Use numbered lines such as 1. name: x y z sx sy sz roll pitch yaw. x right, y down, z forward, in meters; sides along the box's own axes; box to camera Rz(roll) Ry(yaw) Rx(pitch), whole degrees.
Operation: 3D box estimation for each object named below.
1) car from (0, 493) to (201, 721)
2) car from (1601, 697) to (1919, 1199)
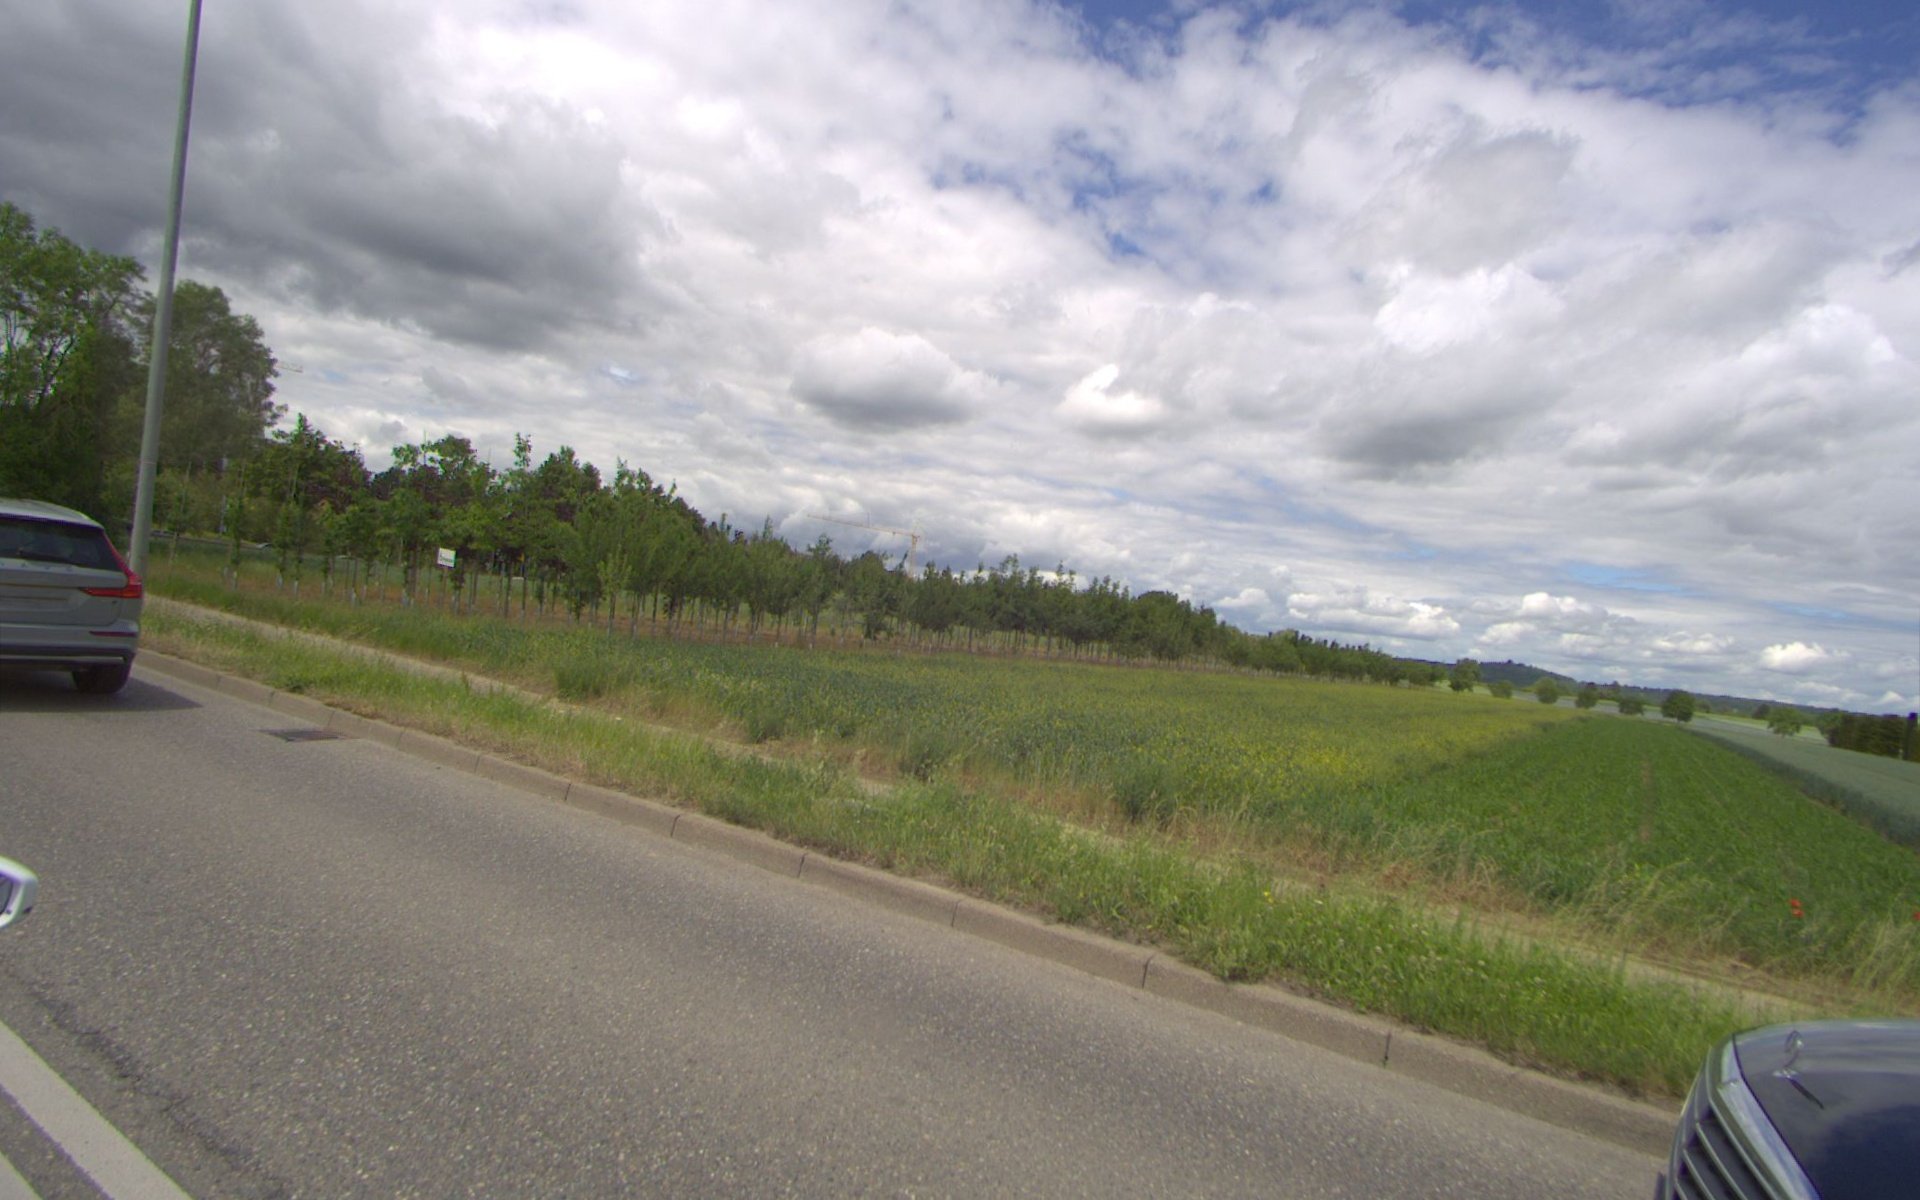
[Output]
1. car: -8.257 -0.151 8.075 4.372 1.537 1.866 7 0 31
2. car: 3.668 1.198 0.809 5.113 1.458 1.875 7 0 31
